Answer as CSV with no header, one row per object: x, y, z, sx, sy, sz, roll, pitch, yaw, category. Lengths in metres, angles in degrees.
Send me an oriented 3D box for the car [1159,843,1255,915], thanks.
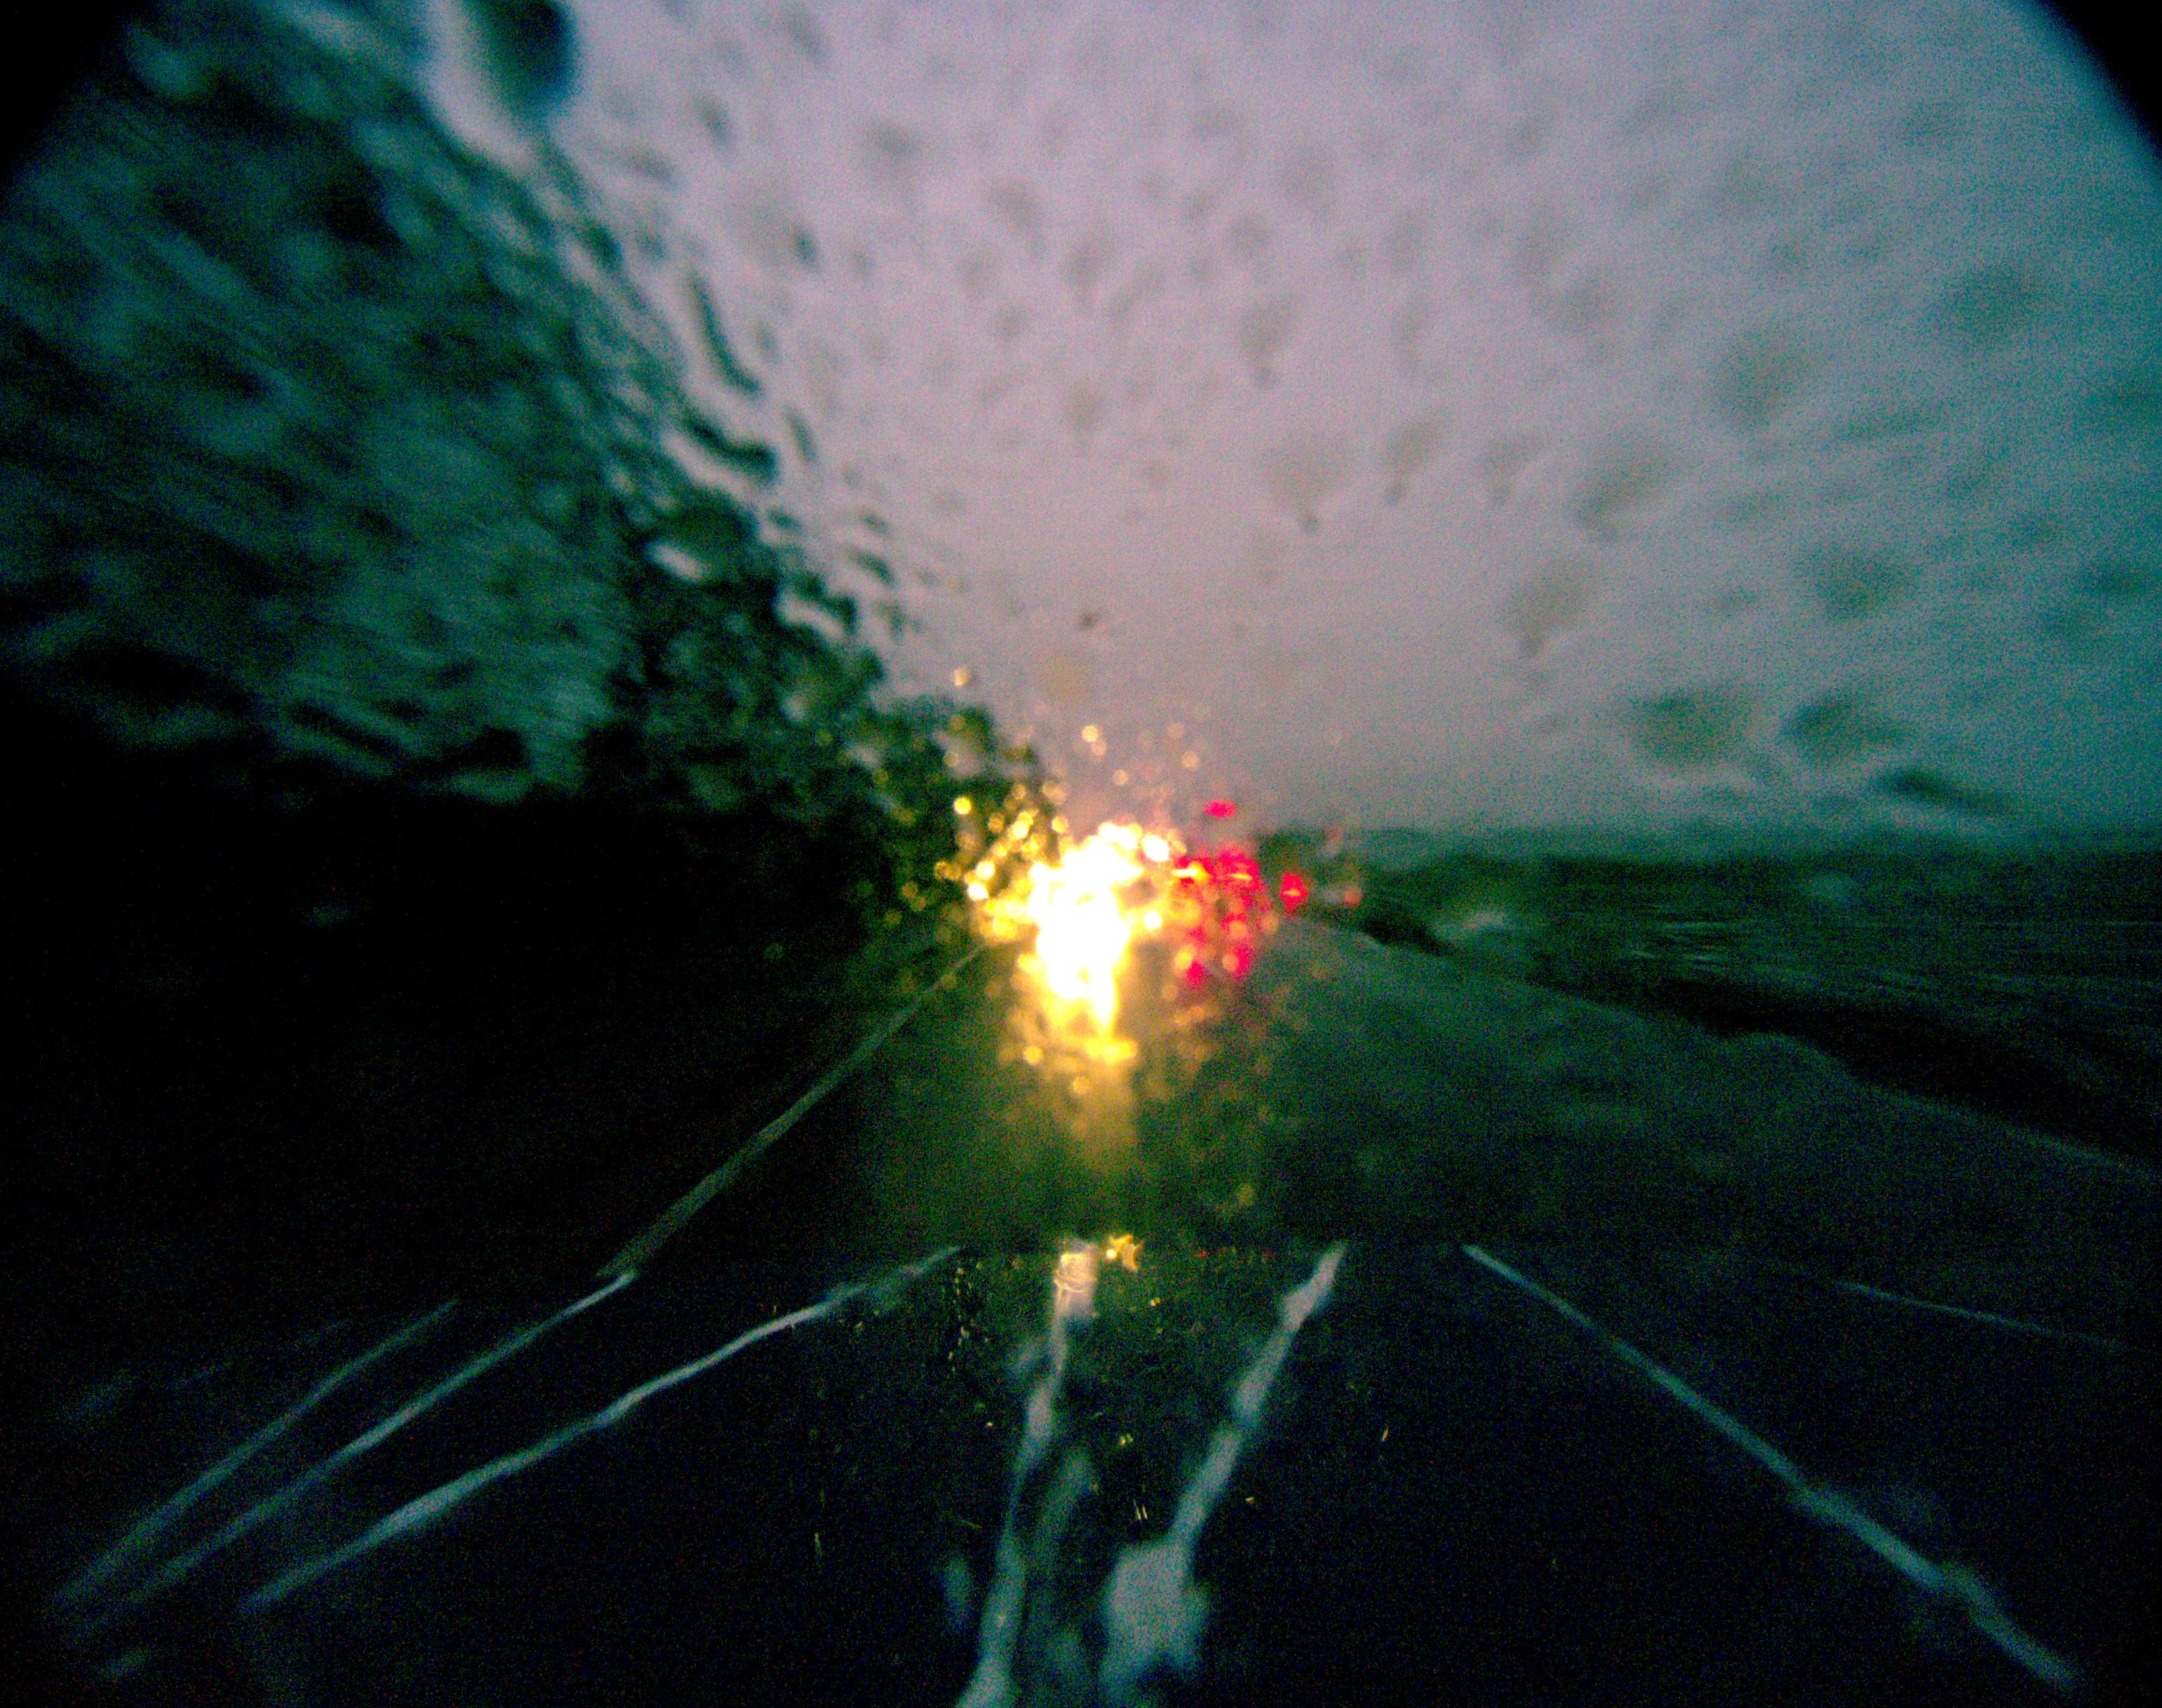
3.399,0.632,21.344,1.998,1.812,4.000,1,0,0,car

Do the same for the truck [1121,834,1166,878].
3.987,0.119,49.678,2.275,2.619,7.034,2,0,0,truck

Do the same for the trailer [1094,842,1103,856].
5.700,-1.579,244.235,2.708,4.056,12.380,-1,0,0,trailer

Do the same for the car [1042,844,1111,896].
-0.116,0.614,33.302,2.704,1.974,5.804,-2,1,1,car

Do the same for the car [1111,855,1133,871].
3.734,0.812,69.395,1.732,1.405,4.022,2,0,0,car
